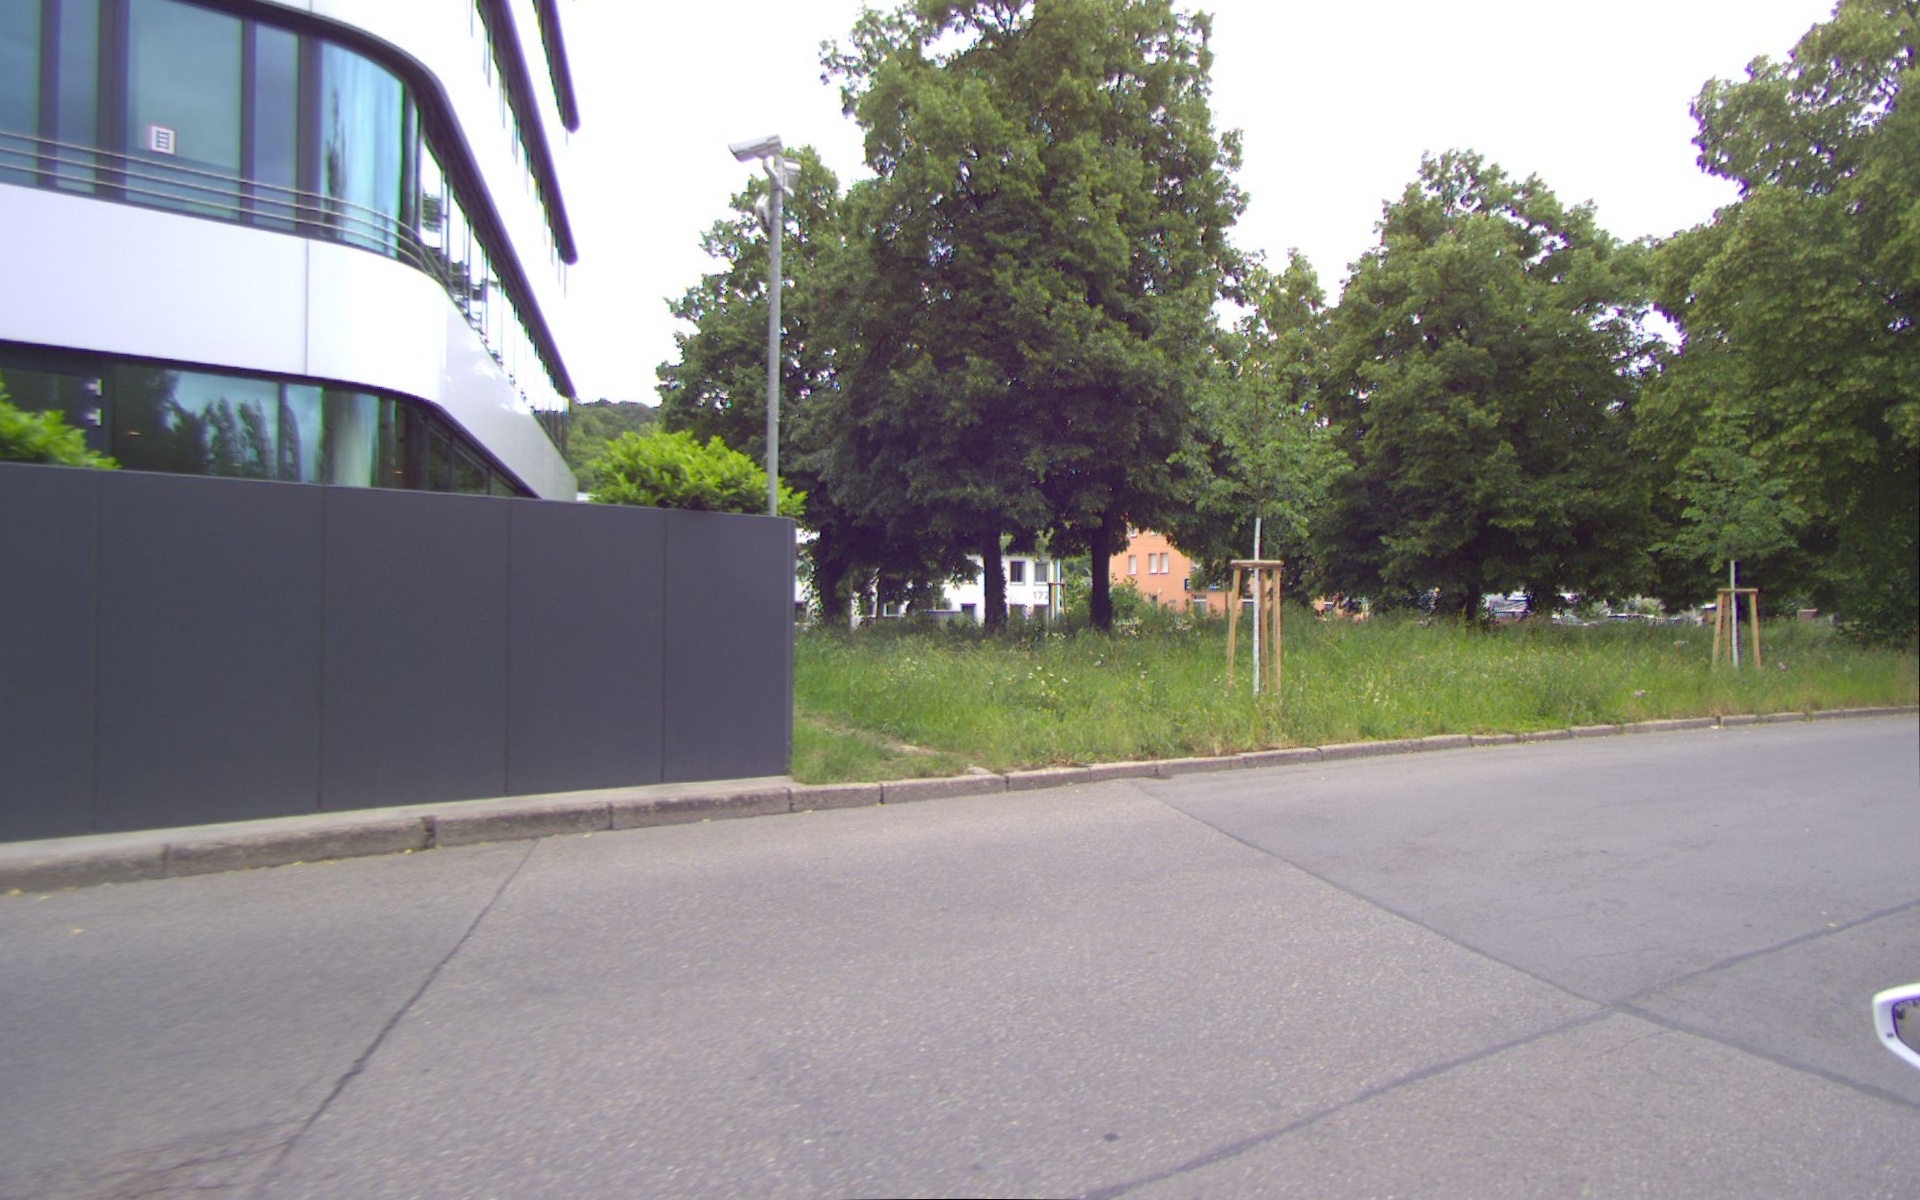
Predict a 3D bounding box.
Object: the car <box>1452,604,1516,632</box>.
[{"bbox_3d":[26.192,0.924,50.204,2.843,1.367,1.552,1,-1,-28],"label":"car"}]
